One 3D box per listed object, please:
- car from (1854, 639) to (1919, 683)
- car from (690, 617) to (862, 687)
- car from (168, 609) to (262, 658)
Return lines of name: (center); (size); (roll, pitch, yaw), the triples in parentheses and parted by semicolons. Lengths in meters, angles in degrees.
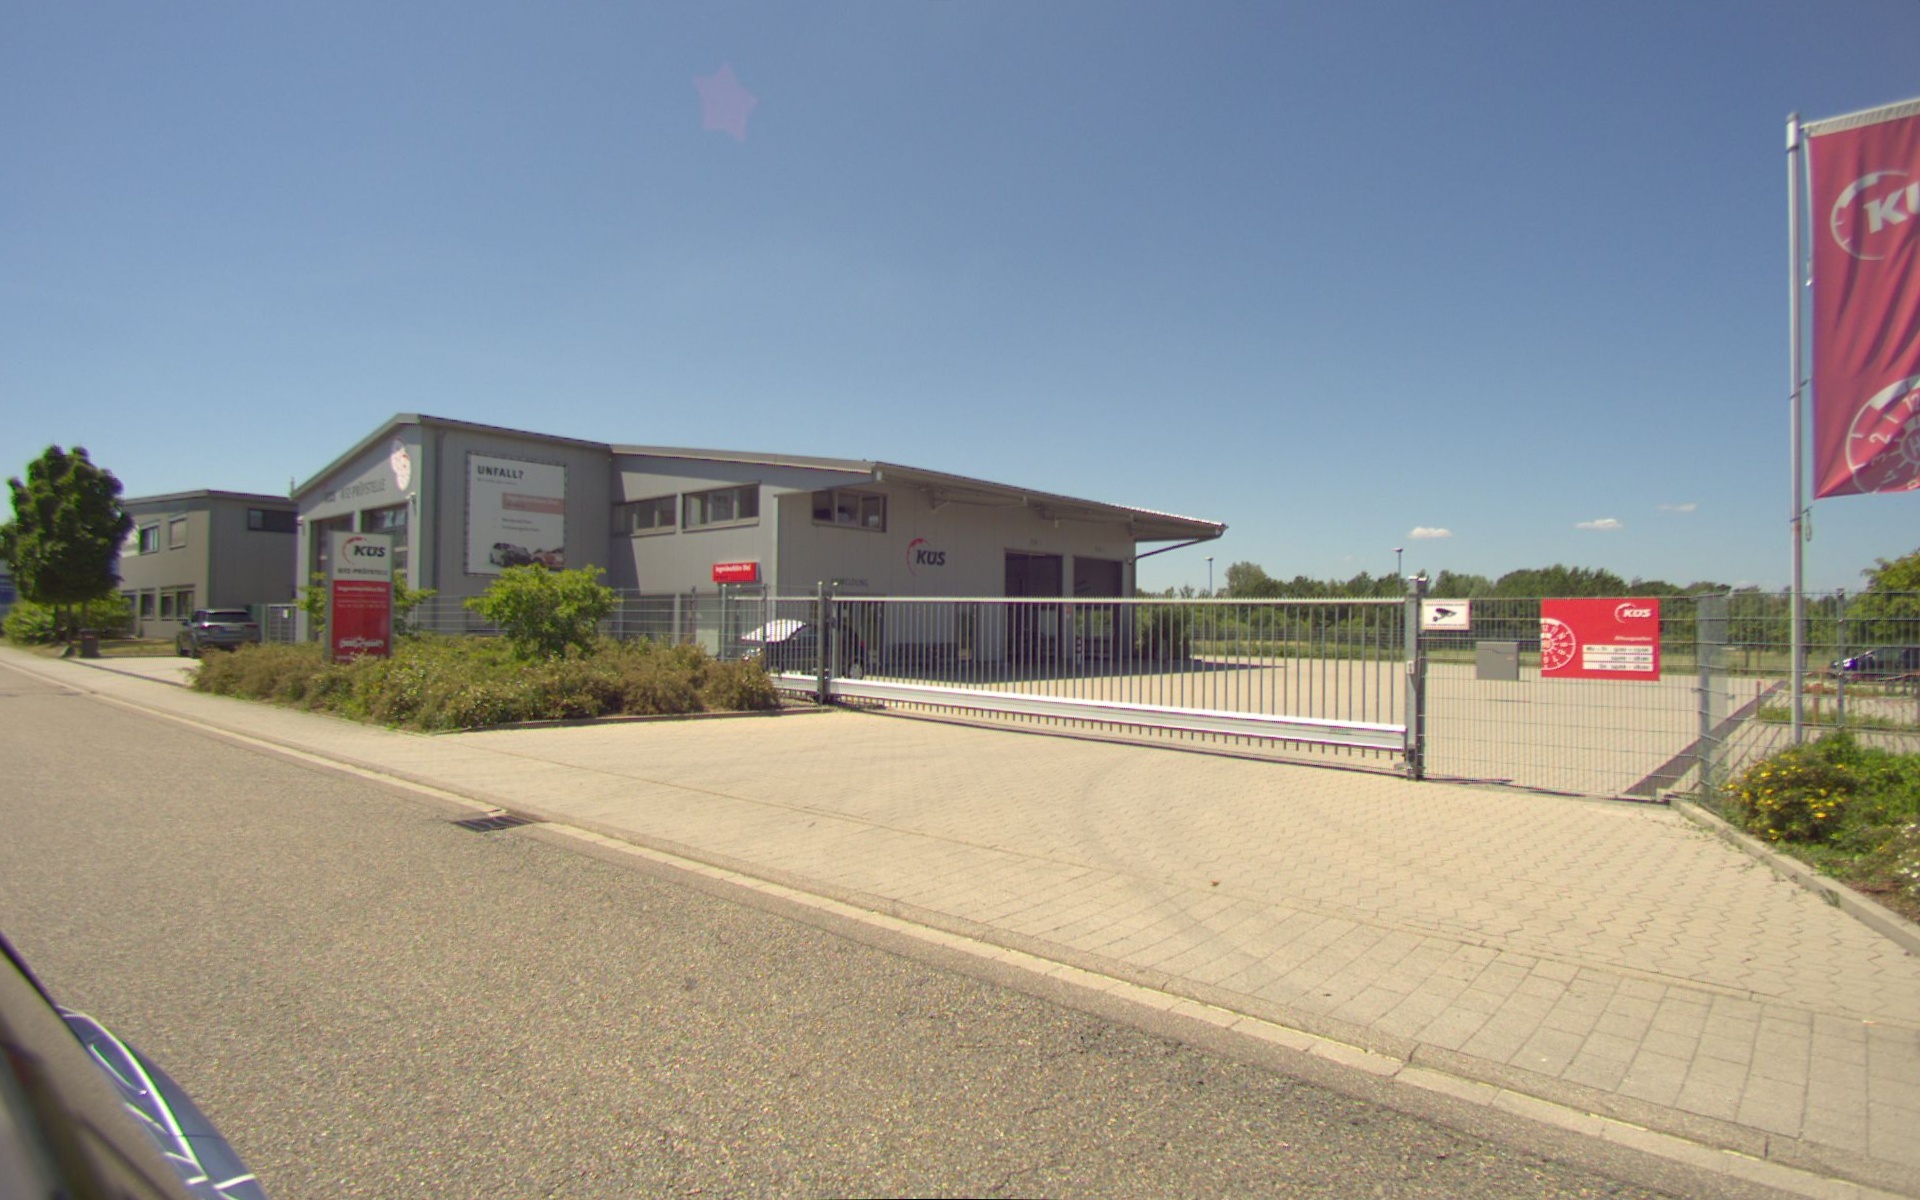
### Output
car: (33.368, 2.110, 34.715); (4.005, 1.468, 1.689); (-1, -3, 41)
car: (-4.060, 1.140, 22.840); (1.581, 1.453, 3.701); (-1, -2, 38)
car: (-27.080, 1.200, 36.756); (3.999, 1.697, 1.972); (-1, -3, 42)
